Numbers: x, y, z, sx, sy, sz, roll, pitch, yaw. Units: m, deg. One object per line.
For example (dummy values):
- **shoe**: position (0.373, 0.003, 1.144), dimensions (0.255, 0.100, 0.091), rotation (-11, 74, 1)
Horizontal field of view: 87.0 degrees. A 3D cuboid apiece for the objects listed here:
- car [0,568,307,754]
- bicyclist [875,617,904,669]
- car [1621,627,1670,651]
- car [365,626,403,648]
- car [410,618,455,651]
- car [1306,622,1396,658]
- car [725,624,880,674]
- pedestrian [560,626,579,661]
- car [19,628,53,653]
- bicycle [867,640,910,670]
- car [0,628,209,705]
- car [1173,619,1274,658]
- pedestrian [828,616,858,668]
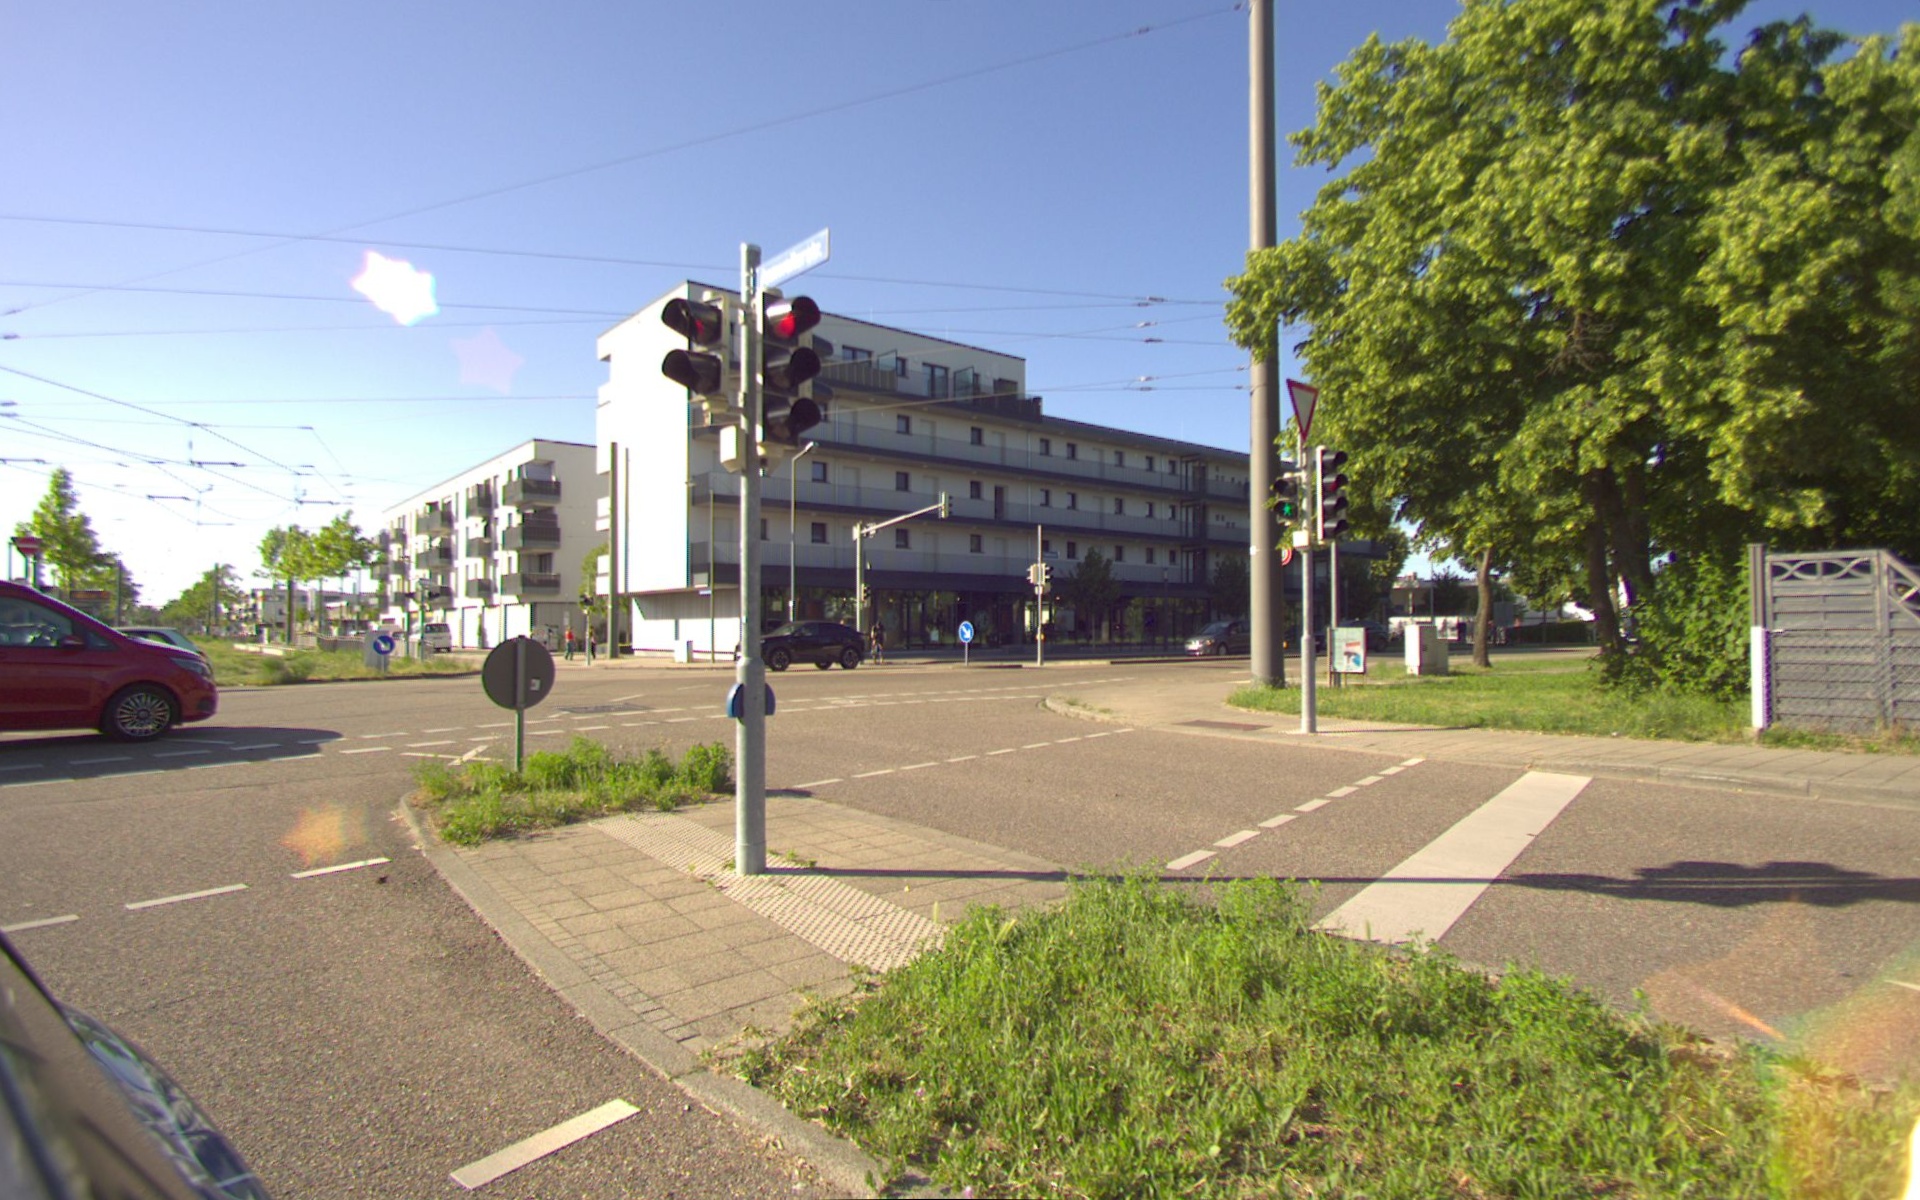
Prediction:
- **car**: position (-10.824, 0.649, 11.779), dimensions (2.128, 1.984, 5.015), rotation (0, 0, 40)
- **bicyclist**: position (-2.800, 1.693, 40.242), dimensions (0.794, 2.029, 0.801), rotation (-2, -3, 39)
- **car**: position (46.787, 2.641, 69.072), dimensions (3.937, 1.546, 1.687), rotation (1, -2, -40)
- **car**: position (-45.211, 2.875, 79.420), dimensions (1.968, 1.565, 4.008), rotation (1, -1, -39)
- **car**: position (-34.858, 2.245, 66.833), dimensions (1.968, 2.029, 4.008), rotation (1, -1, -38)
- **car**: position (19.997, 2.031, 51.628), dimensions (5.116, 1.751, 2.003), rotation (1, -3, -40)
- **car**: position (-5.163, 1.581, 33.325), dimensions (4.662, 1.546, 1.978), rotation (1, -2, -35)
- **pedestrian**: position (-19.124, 2.135, 49.573), dimensions (0.739, 1.699, 0.577), rotation (1, -1, -33)
- **car**: position (-76.276, 3.339, 83.555), dimensions (1.970, 2.029, 4.003), rotation (1, -2, -43)
- **bicycle**: position (-2.846, 2.168, 40.270), dimensions (1.641, 1.152, 0.735), rotation (-2, -3, 40)
- **car**: position (-18.486, 1.411, 21.853), dimensions (3.489, 1.498, 2.003), rotation (1, -5, -41)
- **car**: position (11.129, 1.621, 42.738), dimensions (3.933, 1.583, 2.005), rotation (1, -3, -34)
- **pedestrian**: position (-4.638, 1.662, 40.136), dimensions (0.749, 2.029, 0.981), rotation (1, -3, -44)
